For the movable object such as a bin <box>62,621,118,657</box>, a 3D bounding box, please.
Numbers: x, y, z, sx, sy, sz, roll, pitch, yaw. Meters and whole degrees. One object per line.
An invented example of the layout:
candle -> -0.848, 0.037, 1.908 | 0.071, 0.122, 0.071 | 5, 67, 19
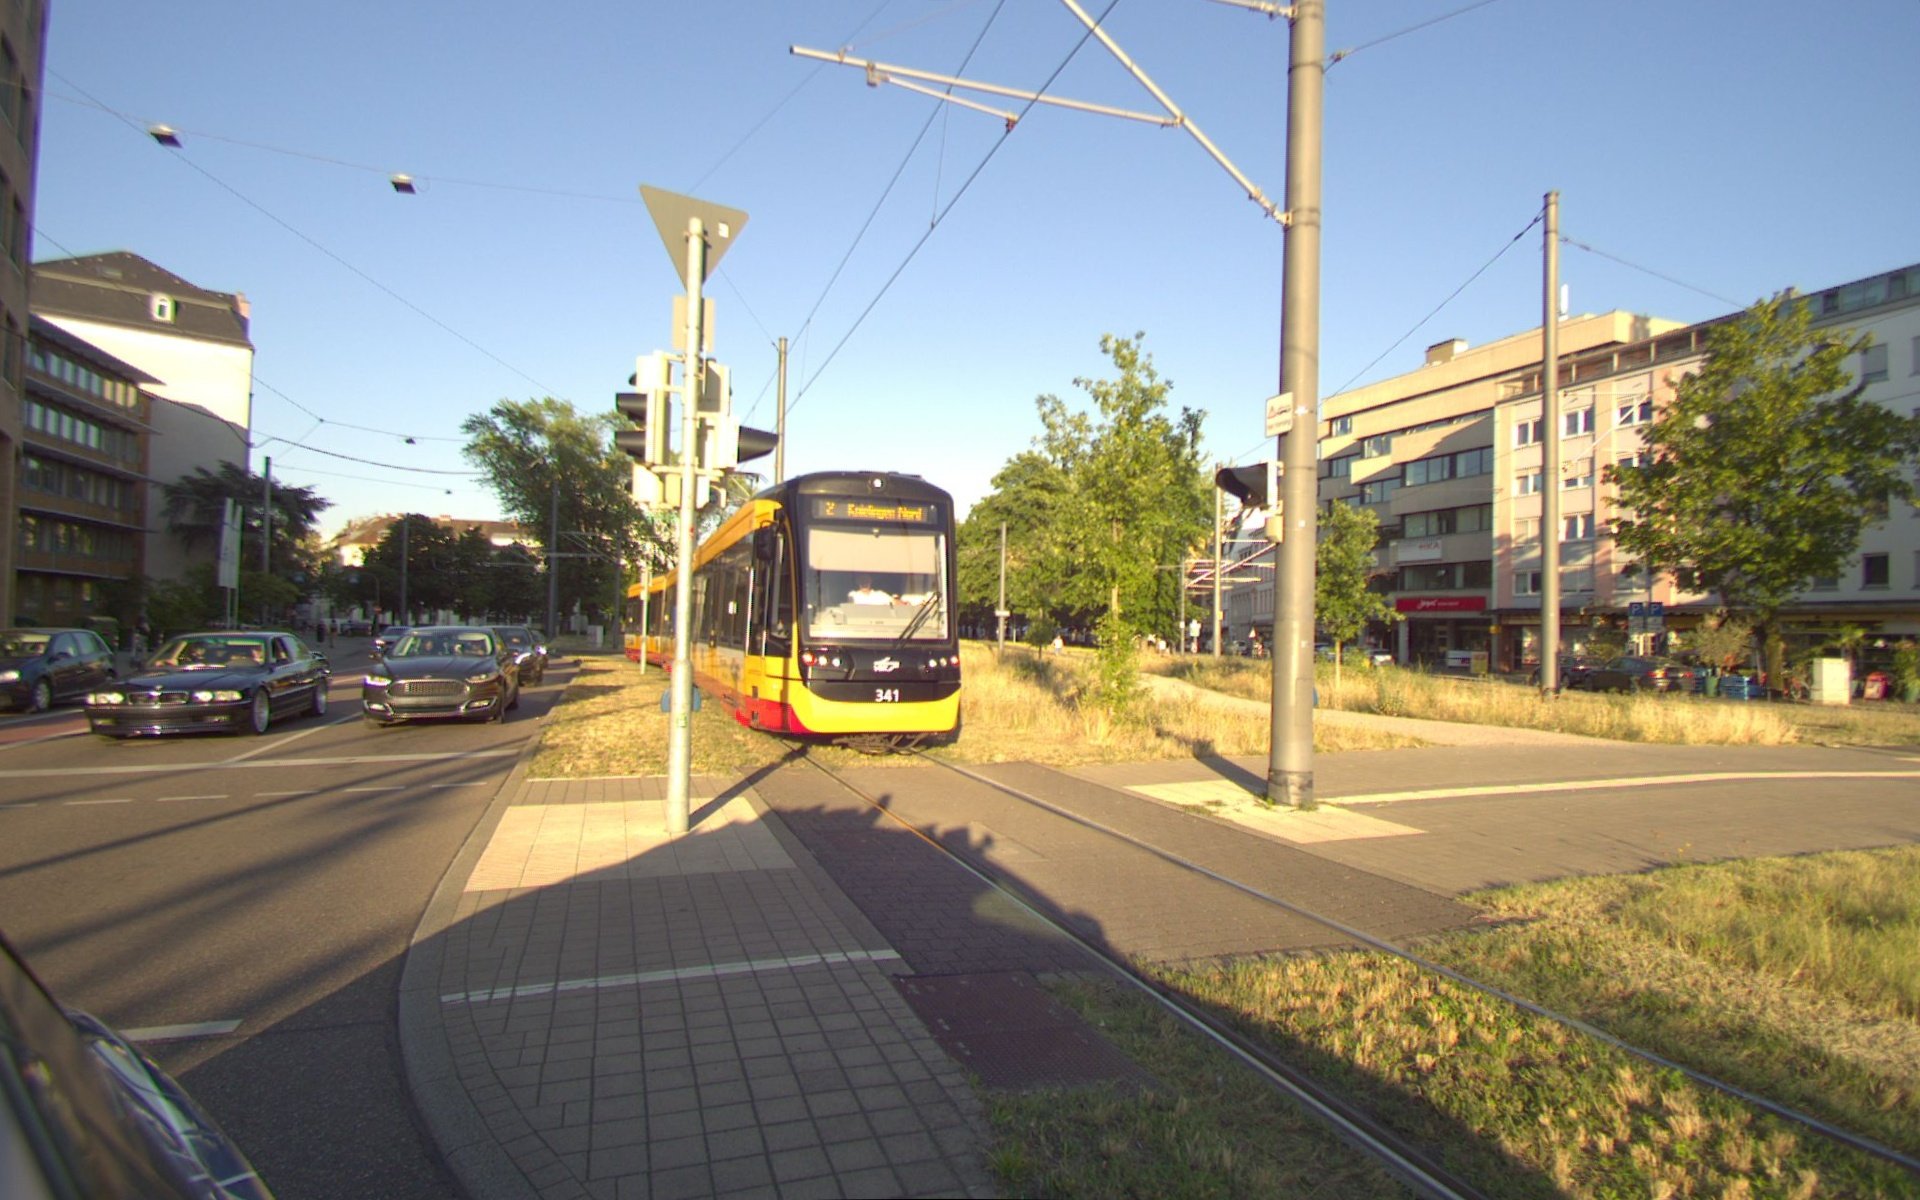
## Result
movable object such as a bin -> -36.832, 1.659, 42.889 | 1.403, 1.470, 1.337 | 2, -2, -23

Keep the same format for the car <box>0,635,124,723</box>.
car -> -16.775, 1.329, 17.952 | 1.729, 1.398, 4.013 | 2, -2, -20

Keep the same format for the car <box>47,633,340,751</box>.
car -> -10.732, 1.185, 14.662 | 1.965, 1.396, 4.754 | 1, -2, -19

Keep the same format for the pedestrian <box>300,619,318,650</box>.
pedestrian -> -38.510, 2.039, 59.888 | 0.716, 1.821, 0.726 | 1, -2, -19

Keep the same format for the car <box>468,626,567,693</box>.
car -> -11.199, 1.474, 25.900 | 1.866, 1.547, 4.719 | 2, -2, -19

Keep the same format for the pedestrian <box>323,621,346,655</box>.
pedestrian -> -35.589, 2.158, 57.612 | 0.895, 1.909, 1.130 | 1, -2, -24

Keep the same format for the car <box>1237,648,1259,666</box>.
car -> 34.286, 6.754, 120.704 | 1.977, 1.996, 3.989 | 1, -2, 8

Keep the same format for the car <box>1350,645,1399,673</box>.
car -> 28.789, 4.083, 70.376 | 1.900, 1.878, 3.996 | 1, -2, 3

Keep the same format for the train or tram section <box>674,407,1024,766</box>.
train or tram section -> -2.886, 0.070, 17.326 | 2.868, 3.767, 13.260 | 2, -2, -20

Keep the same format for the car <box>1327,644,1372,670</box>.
car -> 29.031, 4.227, 75.586 | 1.973, 1.876, 3.997 | 1, -2, 2

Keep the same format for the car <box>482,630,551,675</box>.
car -> -15.241, 1.776, 34.936 | 1.965, 1.472, 4.156 | 2, -2, -21

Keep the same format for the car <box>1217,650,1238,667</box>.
car -> 32.522, 7.107, 123.192 | 1.976, 1.892, 3.895 | 1, -2, 7

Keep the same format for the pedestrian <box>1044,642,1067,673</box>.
pedestrian -> 4.697, 2.837, 49.826 | 0.684, 1.507, 0.919 | 2, -2, -32

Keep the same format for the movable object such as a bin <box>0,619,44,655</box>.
movable object such as a bin -> -39.779, 1.543, 42.574 | 1.403, 1.470, 1.337 | 2, -2, -21

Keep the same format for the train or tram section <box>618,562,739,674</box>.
train or tram section -> -11.522, 0.803, 40.367 | 2.864, 3.767, 12.231 | 2, -2, -23

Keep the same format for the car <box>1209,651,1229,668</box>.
car -> 32.940, 7.599, 128.952 | 1.976, 2.029, 3.991 | 1, -2, 7

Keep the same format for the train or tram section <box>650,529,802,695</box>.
train or tram section -> -7.125, 0.478, 29.138 | 2.837, 3.767, 12.221 | 2, -2, -19

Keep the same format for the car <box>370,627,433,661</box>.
car -> -30.132, 2.364, 54.729 | 1.966, 1.763, 4.010 | 1, -2, -14

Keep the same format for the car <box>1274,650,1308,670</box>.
car -> 30.780, 5.535, 94.076 | 1.973, 1.723, 3.996 | 1, -2, 2

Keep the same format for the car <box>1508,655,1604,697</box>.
car -> 26.679, 3.387, 45.478 | 1.973, 1.714, 3.998 | 1, -2, 1

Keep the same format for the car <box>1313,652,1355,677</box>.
car -> 30.092, 5.155, 81.573 | 1.973, 1.853, 3.997 | 1, -2, 2

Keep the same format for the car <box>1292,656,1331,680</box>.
car -> 30.126, 5.782, 86.759 | 1.972, 1.915, 3.998 | 1, -2, 1

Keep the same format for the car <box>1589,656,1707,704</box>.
car -> 27.064, 3.103, 39.999 | 1.973, 1.697, 3.997 | 1, -2, 2

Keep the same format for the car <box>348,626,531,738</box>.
car -> -8.036, 1.192, 16.071 | 1.859, 1.497, 4.740 | 2, -2, -19

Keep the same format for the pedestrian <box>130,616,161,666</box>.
pedestrian -> -28.247, 1.415, 35.099 | 0.617, 1.694, 0.716 | 2, -2, -23
